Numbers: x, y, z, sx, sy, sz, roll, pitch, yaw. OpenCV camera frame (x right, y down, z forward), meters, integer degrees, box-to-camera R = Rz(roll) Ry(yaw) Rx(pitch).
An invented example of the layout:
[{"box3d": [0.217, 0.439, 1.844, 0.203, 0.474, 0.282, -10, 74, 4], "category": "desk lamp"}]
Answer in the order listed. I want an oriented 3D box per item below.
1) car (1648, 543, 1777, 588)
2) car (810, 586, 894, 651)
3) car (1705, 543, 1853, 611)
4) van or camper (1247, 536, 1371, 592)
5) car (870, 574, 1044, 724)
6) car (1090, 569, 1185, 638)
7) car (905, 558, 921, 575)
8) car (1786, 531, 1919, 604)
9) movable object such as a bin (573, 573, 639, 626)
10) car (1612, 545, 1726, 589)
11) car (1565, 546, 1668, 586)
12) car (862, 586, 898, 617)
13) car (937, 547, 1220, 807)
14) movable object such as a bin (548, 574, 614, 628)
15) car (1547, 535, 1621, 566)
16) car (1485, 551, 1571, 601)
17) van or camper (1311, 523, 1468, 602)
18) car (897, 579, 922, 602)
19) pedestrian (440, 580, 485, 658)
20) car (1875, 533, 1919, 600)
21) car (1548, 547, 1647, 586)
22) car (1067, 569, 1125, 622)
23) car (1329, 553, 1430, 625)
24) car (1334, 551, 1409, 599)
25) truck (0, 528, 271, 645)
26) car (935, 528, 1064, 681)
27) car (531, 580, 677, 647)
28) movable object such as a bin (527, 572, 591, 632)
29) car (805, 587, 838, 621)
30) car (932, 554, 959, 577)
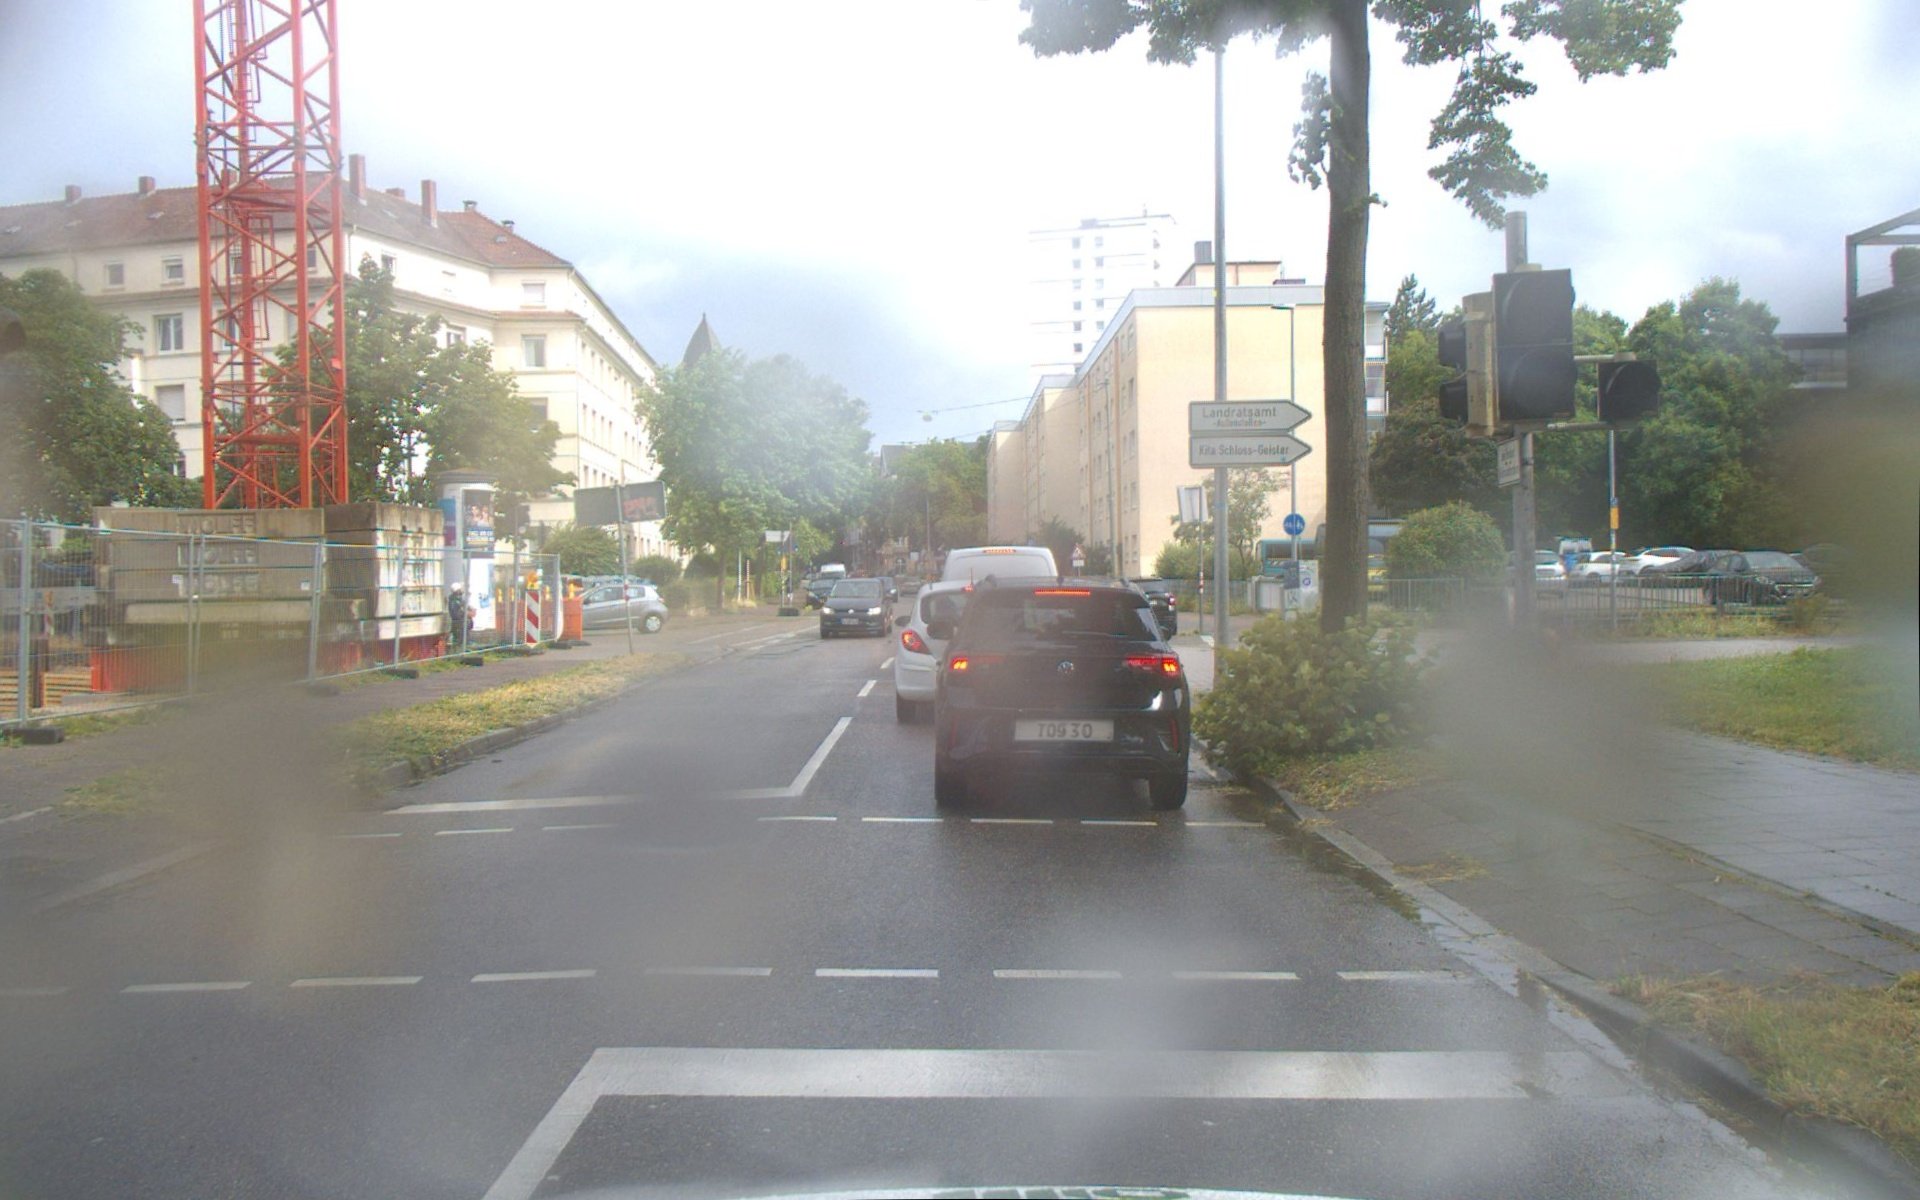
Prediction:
[{"box3d": [27.270, -1.252, 59.975, 3.892, 1.490, 1.673, -2, 1, 1], "category": "car"}, {"box3d": [-2.695, 0.452, 42.165, 1.776, 1.567, 3.982, 0, 0, 1], "category": "car"}, {"box3d": [20.584, -0.591, 41.762, 1.790, 1.553, 4.426, -2, 1, 4], "category": "car"}, {"box3d": [14.270, -1.471, 67.886, 4.660, 2.168, 2.323, -1, 1, 3], "category": "van or camper"}, {"box3d": [-0.037, 0.505, 19.069, 1.776, 1.529, 4.000, 1, 0, 0], "category": "car"}, {"box3d": [4.459, 0.042, 42.125, 1.738, 1.566, 4.377, -4, 1, -2], "category": "car"}, {"box3d": [-5.270, -3.748, 184.280, 1.632, 1.869, 3.998, -2, 1, -2], "category": "car"}, {"box3d": [22.942, -0.834, 42.234, 1.814, 1.708, 4.426, -2, 1, 5], "category": "car"}, {"box3d": [-12.038, -0.035, 56.354, 1.505, 1.703, 1.667, -1, 2, 19], "category": "movable object such as a bin"}, {"box3d": [26.747, -1.251, 62.432, 3.590, 1.512, 1.640, -2, 1, 3], "category": "car"}, {"box3d": [26.887, -1.399, 67.818, 3.590, 1.512, 1.640, -2, 1, 3], "category": "car"}, {"box3d": [-4.661, 0.068, 97.341, 1.803, 1.636, 4.001, -3, 1, 1], "category": "car"}, {"box3d": [0.759, 0.498, 12.821, 1.835, 1.674, 4.061, 1, 0, -1], "category": "car"}, {"box3d": [-12.554, 0.024, 54.787, 1.505, 1.685, 1.529, -1, 1, 19], "category": "movable object such as a bin"}, {"box3d": [31.541, -2.505, 83.693, 3.158, 1.422, 1.510, -2, 1, 3], "category": "car"}, {"box3d": [18.293, -0.792, 53.394, 1.614, 1.512, 3.720, -2, 1, 2], "category": "car"}, {"box3d": [14.893, -1.285, 57.591, 4.895, 2.599, 2.175, -1, 0, 1], "category": "van or camper"}, {"box3d": [-3.867, -0.767, 128.082, 1.705, 1.636, 3.676, -3, 1, 1], "category": "car"}, {"box3d": [-10.651, 0.398, 35.391, 0.716, 1.658, 0.675, 1, 0, -38], "category": "pedestrian"}, {"box3d": [25.543, -0.894, 42.374, 1.815, 1.708, 4.424, -2, 1, 2], "category": "car"}, {"box3d": [27.054, -1.428, 70.245, 3.590, 1.512, 1.640, -2, 1, 3], "category": "car"}, {"box3d": [4.366, -0.115, 53.672, 1.720, 1.554, 4.001, 2, -1, 3], "category": "car"}, {"box3d": [11.295, -0.322, 44.791, 1.766, 1.780, 4.239, -2, 1, 2], "category": "car"}, {"box3d": [13.359, -0.824, 53.846, 1.577, 1.474, 3.417, -2, 1, 1], "category": "car"}, {"box3d": [-26.514, -0.373, 50.691, 9.604, 3.239, 3.795, -2, 1, 16], "category": "truck"}, {"box3d": [0.605, 0.056, 25.399, 1.798, 2.139, 4.001, 1, 0, 1], "category": "car"}, {"box3d": [-10.507, 0.398, 48.805, 3.930, 1.665, 1.884, -4, 0, -21], "category": "car"}, {"box3d": [-12.891, 0.054, 53.242, 1.505, 1.856, 1.264, -1, 1, 19], "category": "movable object such as a bin"}, {"box3d": [-6.886, 0.190, 82.123, 1.555, 1.532, 4.061, -2, 1, -5], "category": "car"}, {"box3d": [-1.037, -2.522, 121.629, 1.803, 1.636, 3.676, -3, 1, 1], "category": "car"}]
